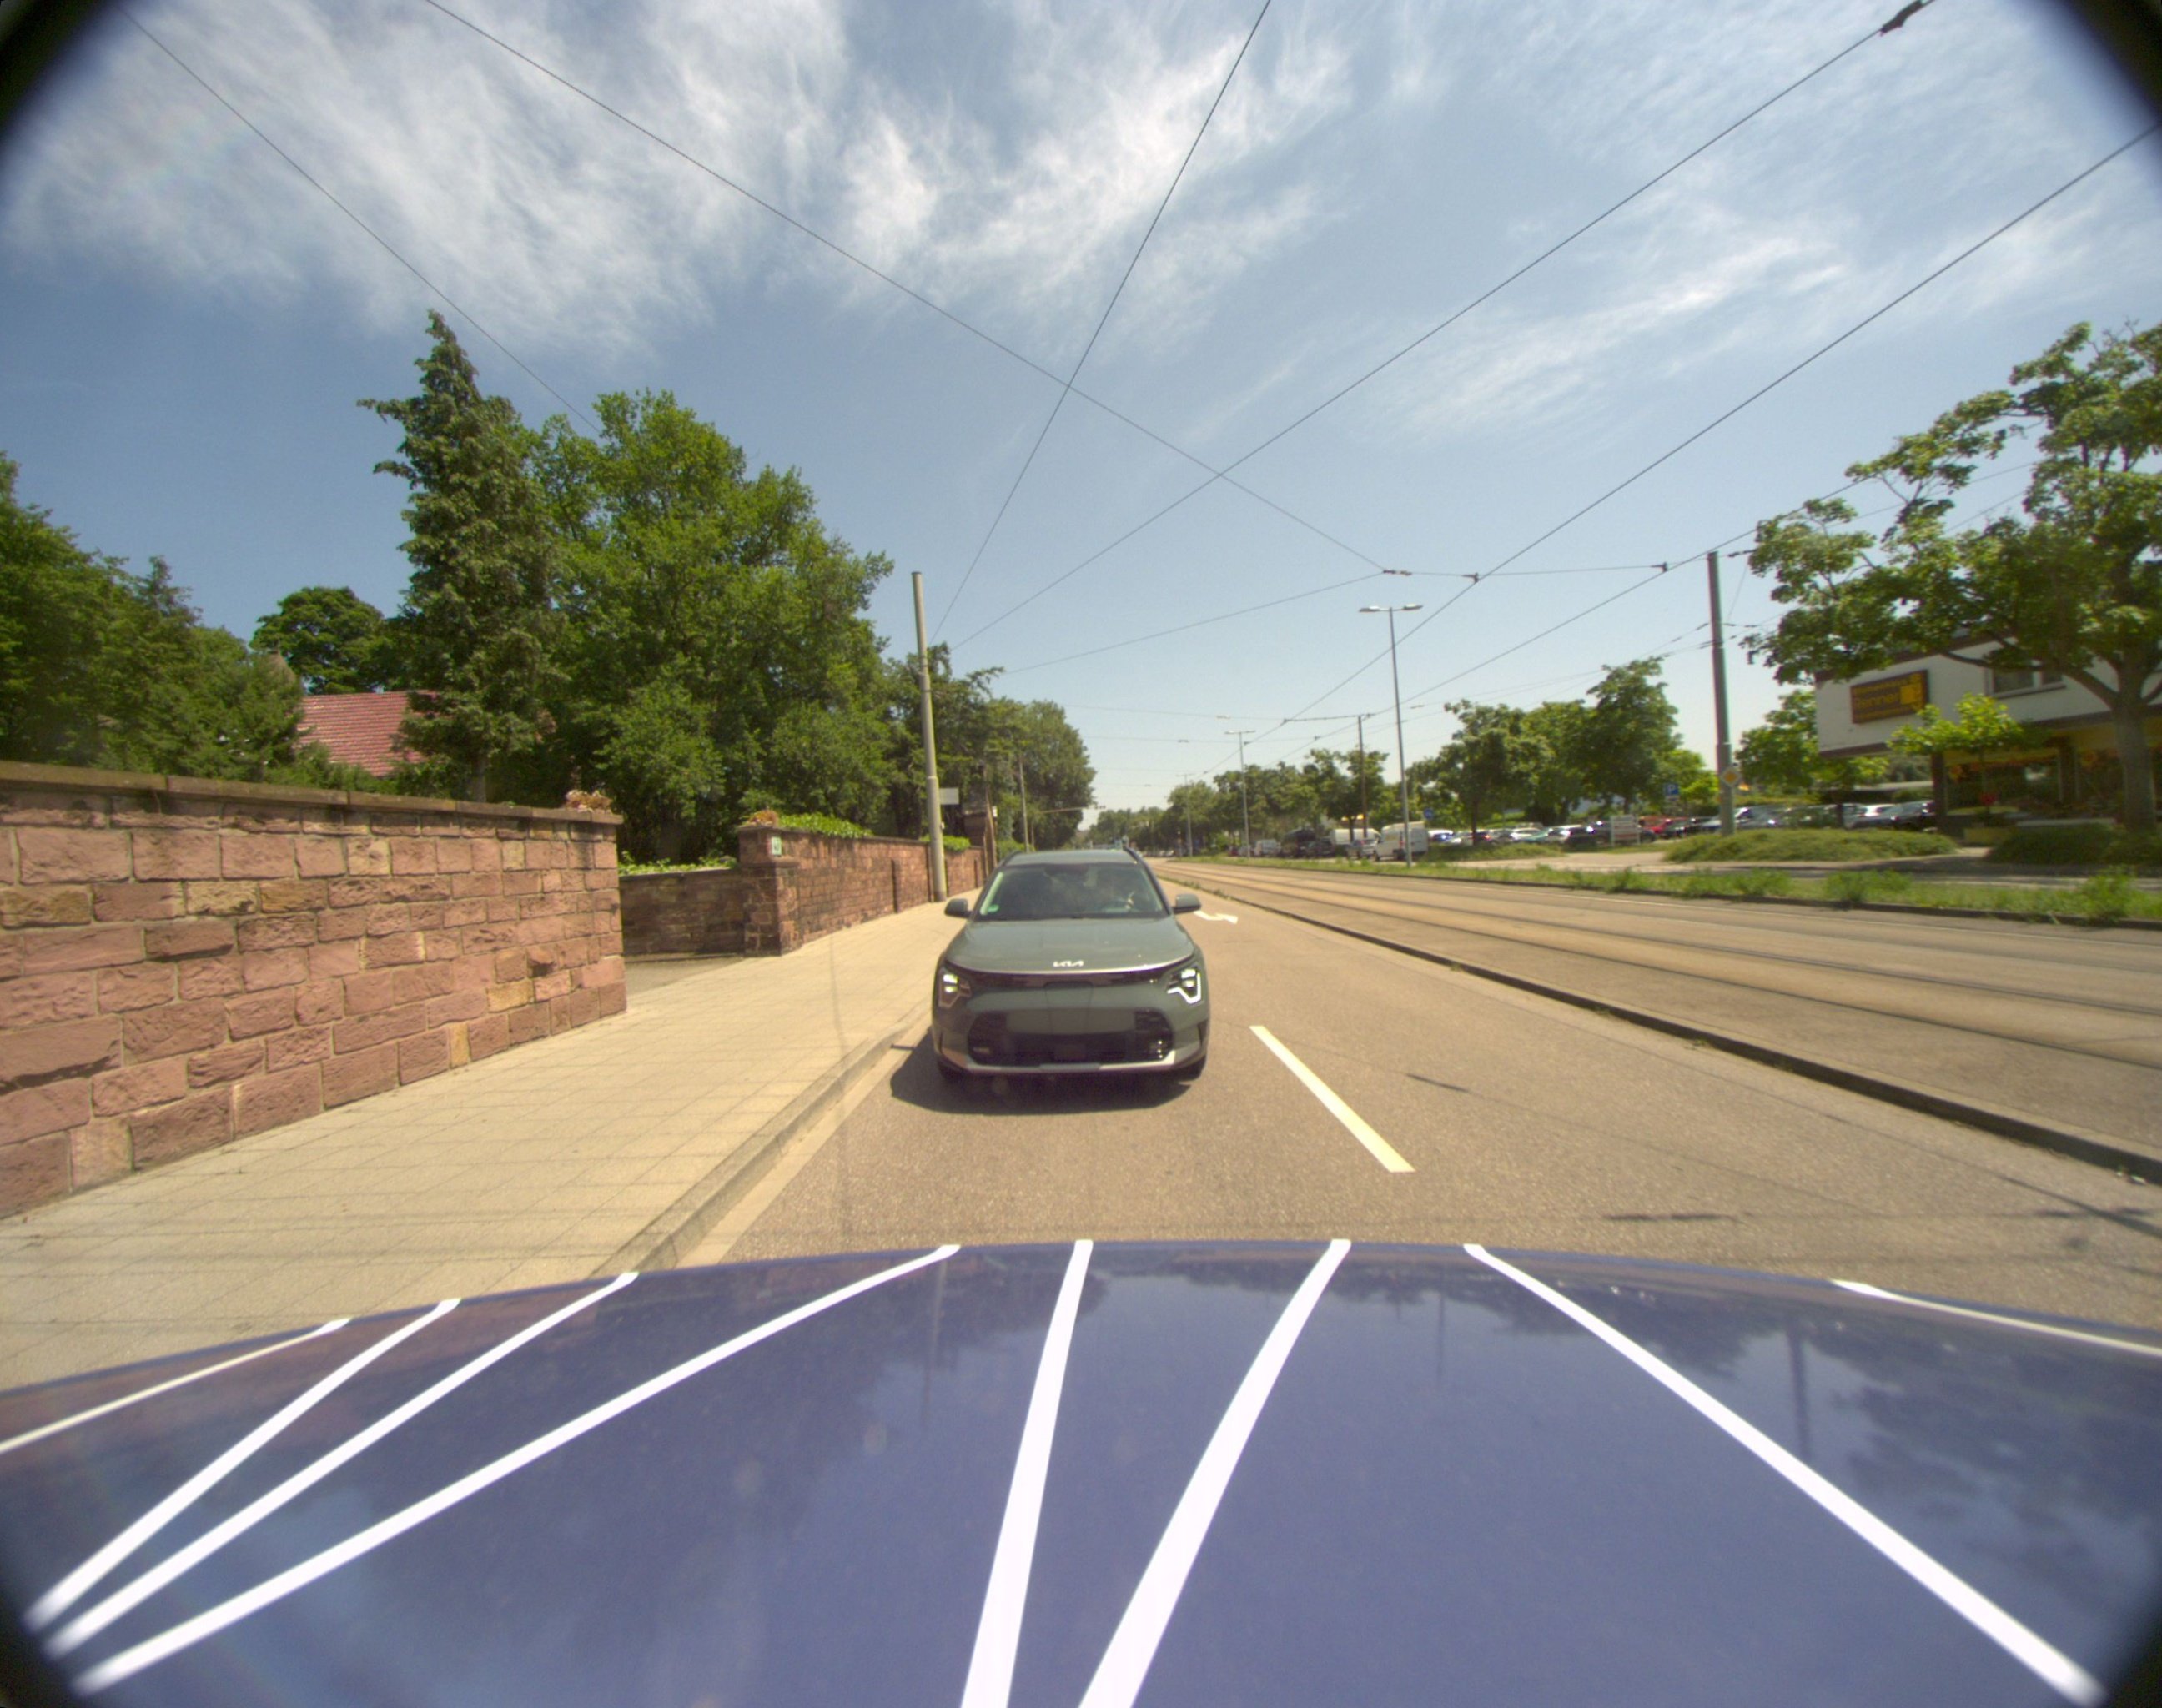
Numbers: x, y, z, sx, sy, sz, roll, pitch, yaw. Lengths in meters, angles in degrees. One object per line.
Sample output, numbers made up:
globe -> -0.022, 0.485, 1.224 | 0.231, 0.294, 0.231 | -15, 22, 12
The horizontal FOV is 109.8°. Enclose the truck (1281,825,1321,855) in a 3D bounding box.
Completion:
truck -> 20.270, -1.273, 70.310 | 2.225, 2.526, 4.929 | -3, 0, 1

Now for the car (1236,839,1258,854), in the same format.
car -> 20.624, -0.938, 94.601 | 1.681, 1.783, 4.202 | -3, 0, 0

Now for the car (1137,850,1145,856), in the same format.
car -> 16.092, -0.210, 205.014 | 1.737, 1.469, 4.000 | -4, 0, 0

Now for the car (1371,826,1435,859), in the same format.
car -> 20.200, -0.715, 47.842 | 1.998, 1.872, 4.661 | -3, 0, 1

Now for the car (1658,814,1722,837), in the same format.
car -> 43.790, -2.057, 54.657 | 3.355, 1.381, 1.506 | -4, 1, -2

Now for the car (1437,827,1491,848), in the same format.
car -> 30.257, -1.302, 60.102 | 3.414, 1.386, 1.603 | -4, 1, -5

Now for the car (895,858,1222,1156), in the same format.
car -> -0.098, 0.883, 6.390 | 1.789, 1.561, 4.184 | -2, 1, 1

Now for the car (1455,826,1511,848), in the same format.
car -> 30.513, -1.285, 57.695 | 3.414, 1.386, 1.603 | -4, 1, -5

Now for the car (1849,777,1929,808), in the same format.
car -> 63.469, -4.829, 59.754 | 3.996, 2.002, 2.000 | -3, 1, 2

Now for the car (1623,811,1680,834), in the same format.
car -> 44.885, -2.461, 59.793 | 3.355, 1.552, 1.506 | -4, 1, -2

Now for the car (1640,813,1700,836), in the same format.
car -> 44.304, -2.204, 57.220 | 3.355, 1.450, 1.506 | -4, 1, -2

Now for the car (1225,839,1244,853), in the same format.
car -> 20.468, -1.029, 101.209 | 1.681, 1.693, 3.823 | -4, 0, 0

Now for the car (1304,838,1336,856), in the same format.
car -> 20.157, -0.618, 64.206 | 1.675, 1.378, 3.669 | -3, 0, 2

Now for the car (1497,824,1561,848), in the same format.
car -> 30.762, -1.236, 52.221 | 3.414, 1.386, 1.603 | -4, 1, -5

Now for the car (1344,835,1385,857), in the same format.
car -> 20.182, -0.561, 54.200 | 1.675, 1.378, 3.569 | -3, 0, 2

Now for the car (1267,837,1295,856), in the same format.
car -> 20.694, -0.785, 78.749 | 1.681, 1.783, 3.868 | -4, 0, 0

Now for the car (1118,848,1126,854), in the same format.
car -> 11.219, -0.845, 208.523 | 1.998, 1.652, 4.000 | -3, 0, 0

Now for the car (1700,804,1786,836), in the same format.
car -> 43.114, -2.187, 49.532 | 3.998, 1.774, 1.813 | -4, 1, -2

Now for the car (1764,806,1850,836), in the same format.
car -> 42.561, -1.922, 44.571 | 3.492, 1.528, 1.624 | -4, 1, -2

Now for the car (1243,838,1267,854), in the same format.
car -> 20.613, -0.946, 90.115 | 1.681, 1.783, 4.202 | -4, 0, 0

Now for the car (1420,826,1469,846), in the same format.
car -> 31.359, -1.514, 65.598 | 3.414, 1.497, 1.603 | -4, 1, -5

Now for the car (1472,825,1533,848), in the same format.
car -> 30.194, -1.239, 54.481 | 3.414, 1.386, 1.603 | -4, 1, -5

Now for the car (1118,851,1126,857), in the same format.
car -> 13.244, -0.047, 245.411 | 1.998, 1.652, 4.000 | -4, 0, 0

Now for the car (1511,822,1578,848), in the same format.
car -> 30.251, -1.228, 49.646 | 3.414, 1.482, 1.598 | -4, 1, -5

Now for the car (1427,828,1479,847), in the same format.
car -> 30.787, -1.355, 62.936 | 3.414, 1.386, 1.603 | -4, 1, -5

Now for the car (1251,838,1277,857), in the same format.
car -> 20.220, -0.686, 84.166 | 1.681, 1.963, 4.509 | -4, 0, 0

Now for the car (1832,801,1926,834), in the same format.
car -> 43.707, -1.966, 41.664 | 3.492, 1.528, 1.624 | -4, 1, -2

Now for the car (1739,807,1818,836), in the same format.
car -> 43.265, -1.994, 47.154 | 3.492, 1.528, 1.534 | -4, 1, -2

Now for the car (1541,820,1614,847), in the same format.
car -> 30.927, -1.268, 47.381 | 3.414, 1.482, 1.793 | -4, 0, -5

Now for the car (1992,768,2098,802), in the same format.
car -> 61.219, -4.363, 48.301 | 3.996, 1.761, 2.000 | -3, 1, 2
